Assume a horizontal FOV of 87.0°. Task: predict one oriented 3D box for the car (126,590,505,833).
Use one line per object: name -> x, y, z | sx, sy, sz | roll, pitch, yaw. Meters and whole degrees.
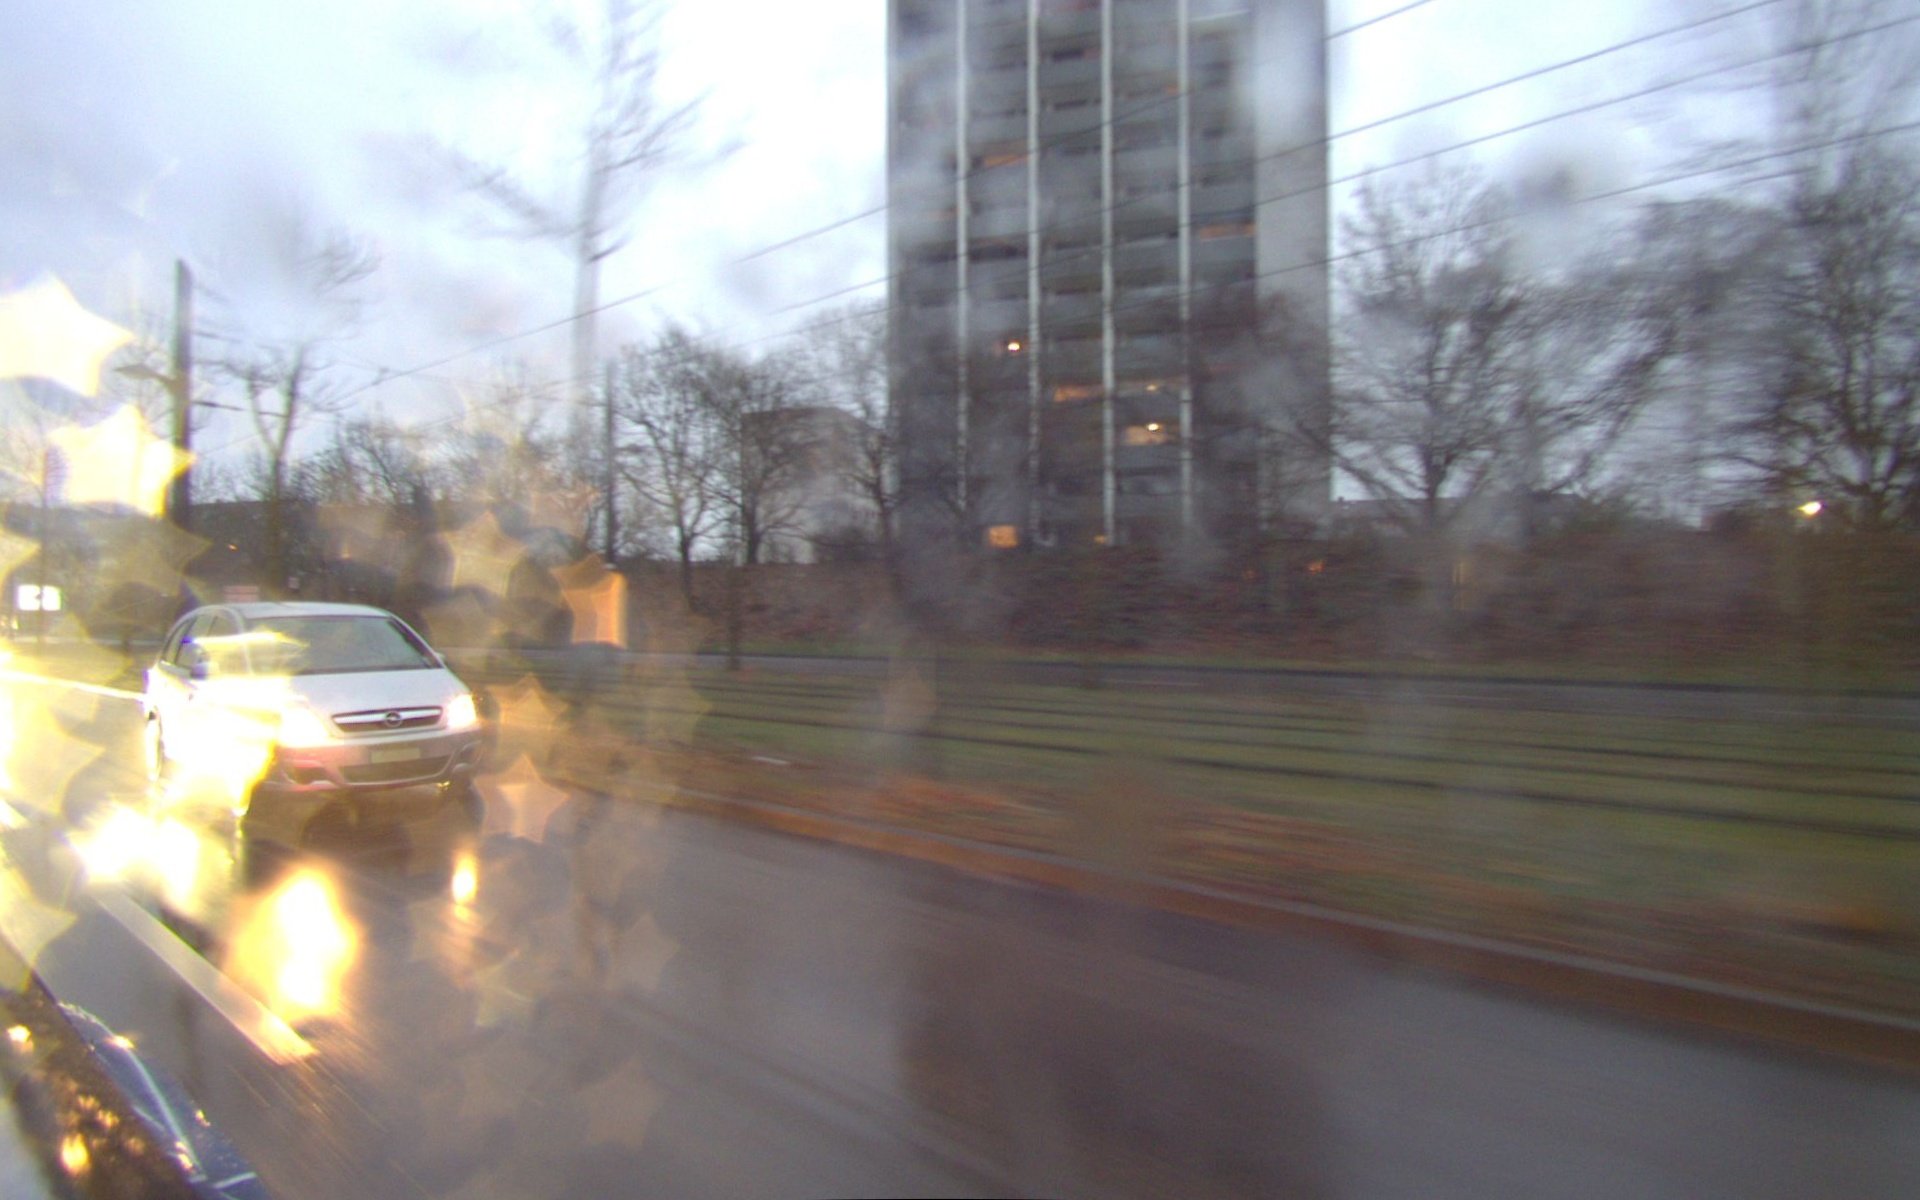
car -> -5.577, 0.767, 8.559 | 3.920, 1.587, 1.648 | -2, 0, 41
